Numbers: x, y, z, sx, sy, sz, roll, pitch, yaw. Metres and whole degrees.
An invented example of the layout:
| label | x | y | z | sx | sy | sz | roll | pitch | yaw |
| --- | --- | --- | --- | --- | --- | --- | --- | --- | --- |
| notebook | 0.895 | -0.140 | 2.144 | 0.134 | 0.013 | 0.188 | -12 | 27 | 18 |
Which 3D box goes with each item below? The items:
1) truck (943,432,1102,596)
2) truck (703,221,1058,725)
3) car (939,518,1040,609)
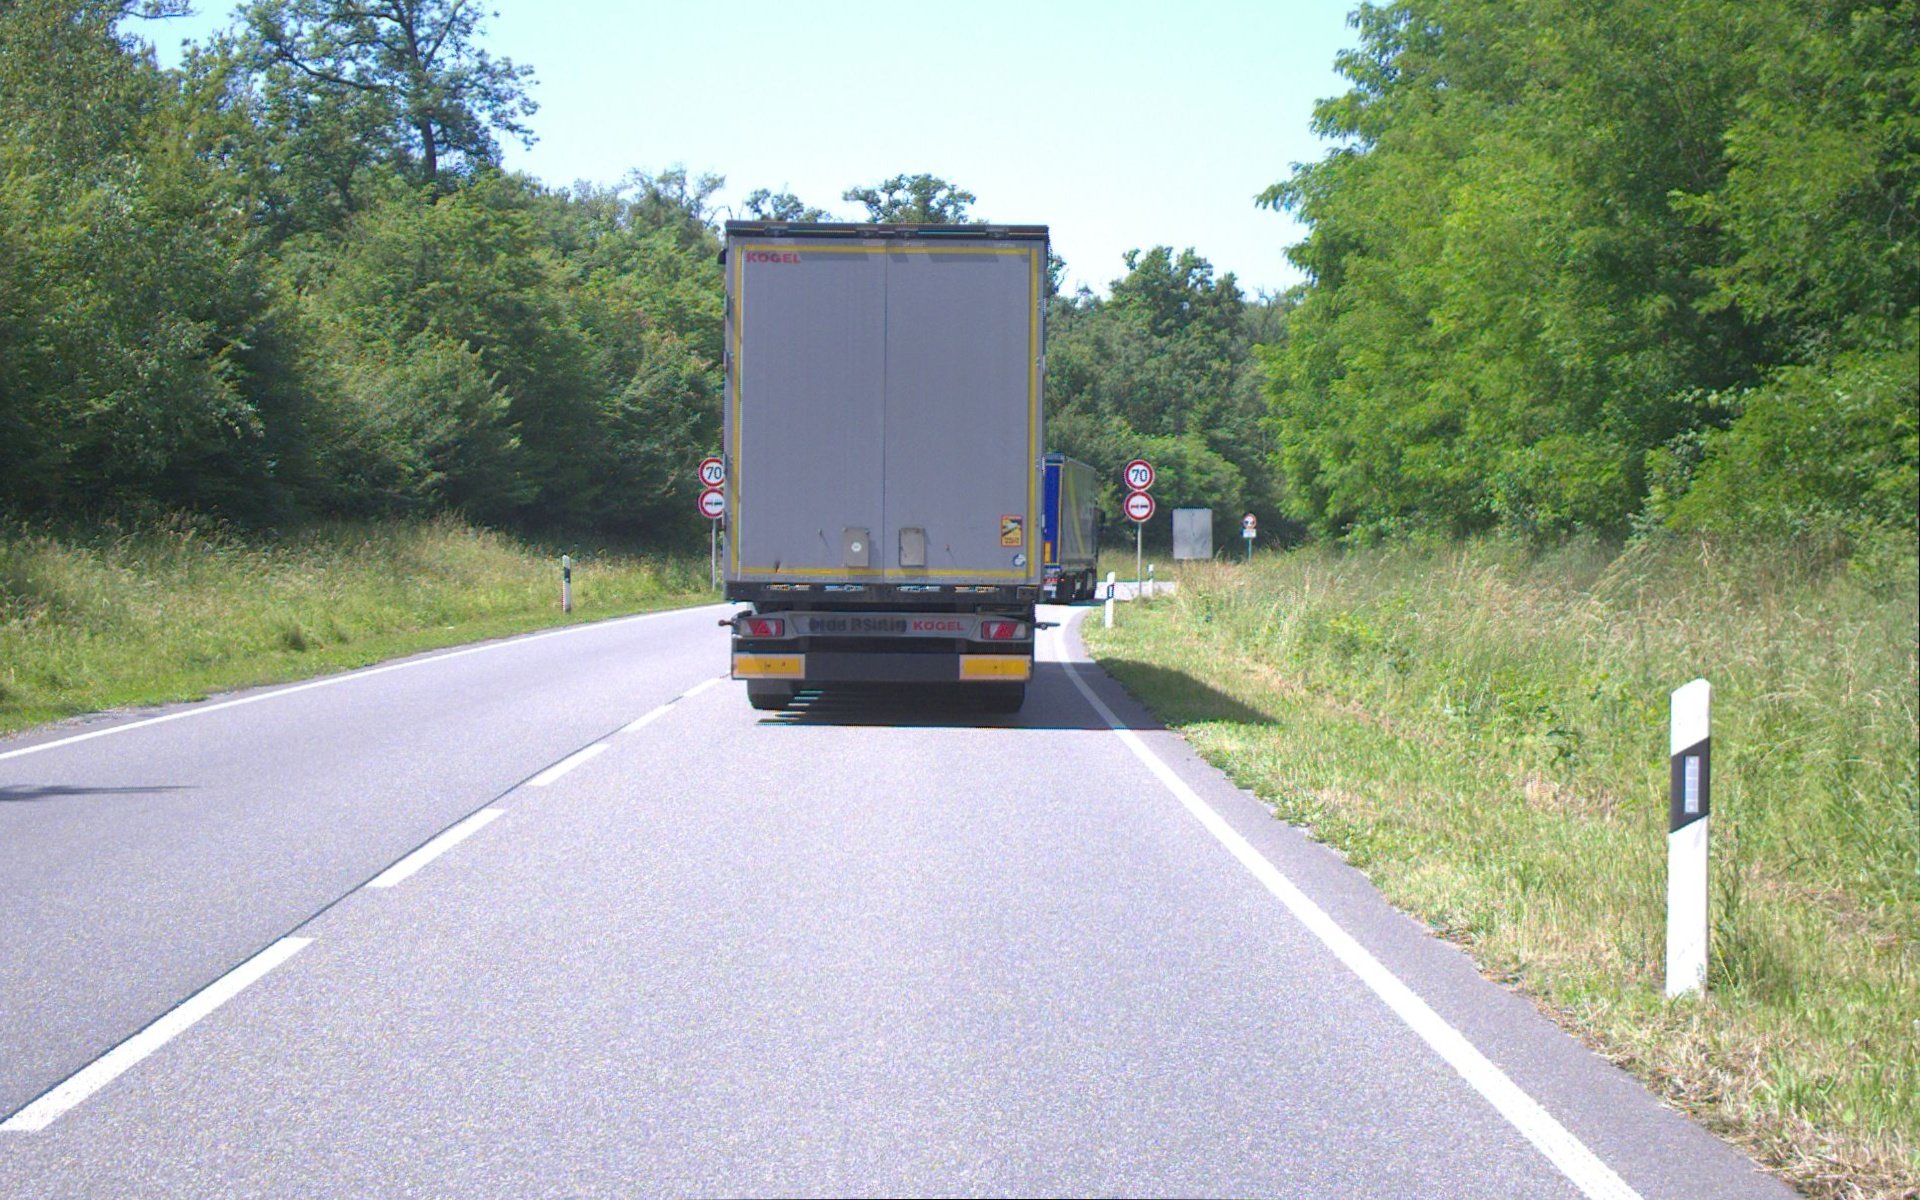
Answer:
| label | x | y | z | sx | sy | sz | roll | pitch | yaw |
| --- | --- | --- | --- | --- | --- | --- | --- | --- | --- |
| truck | 1.969 | -2.444 | 98.941 | 3.794 | 4.358 | 14.918 | 0 | 1 | 4 |
| truck | -0.619 | -1.130 | 33.085 | 2.761 | 3.933 | 12.198 | 0 | 1 | 0 |
| car | 0.598 | -0.722 | 66.293 | 1.770 | 1.703 | 4.000 | 0 | 1 | 3 |
